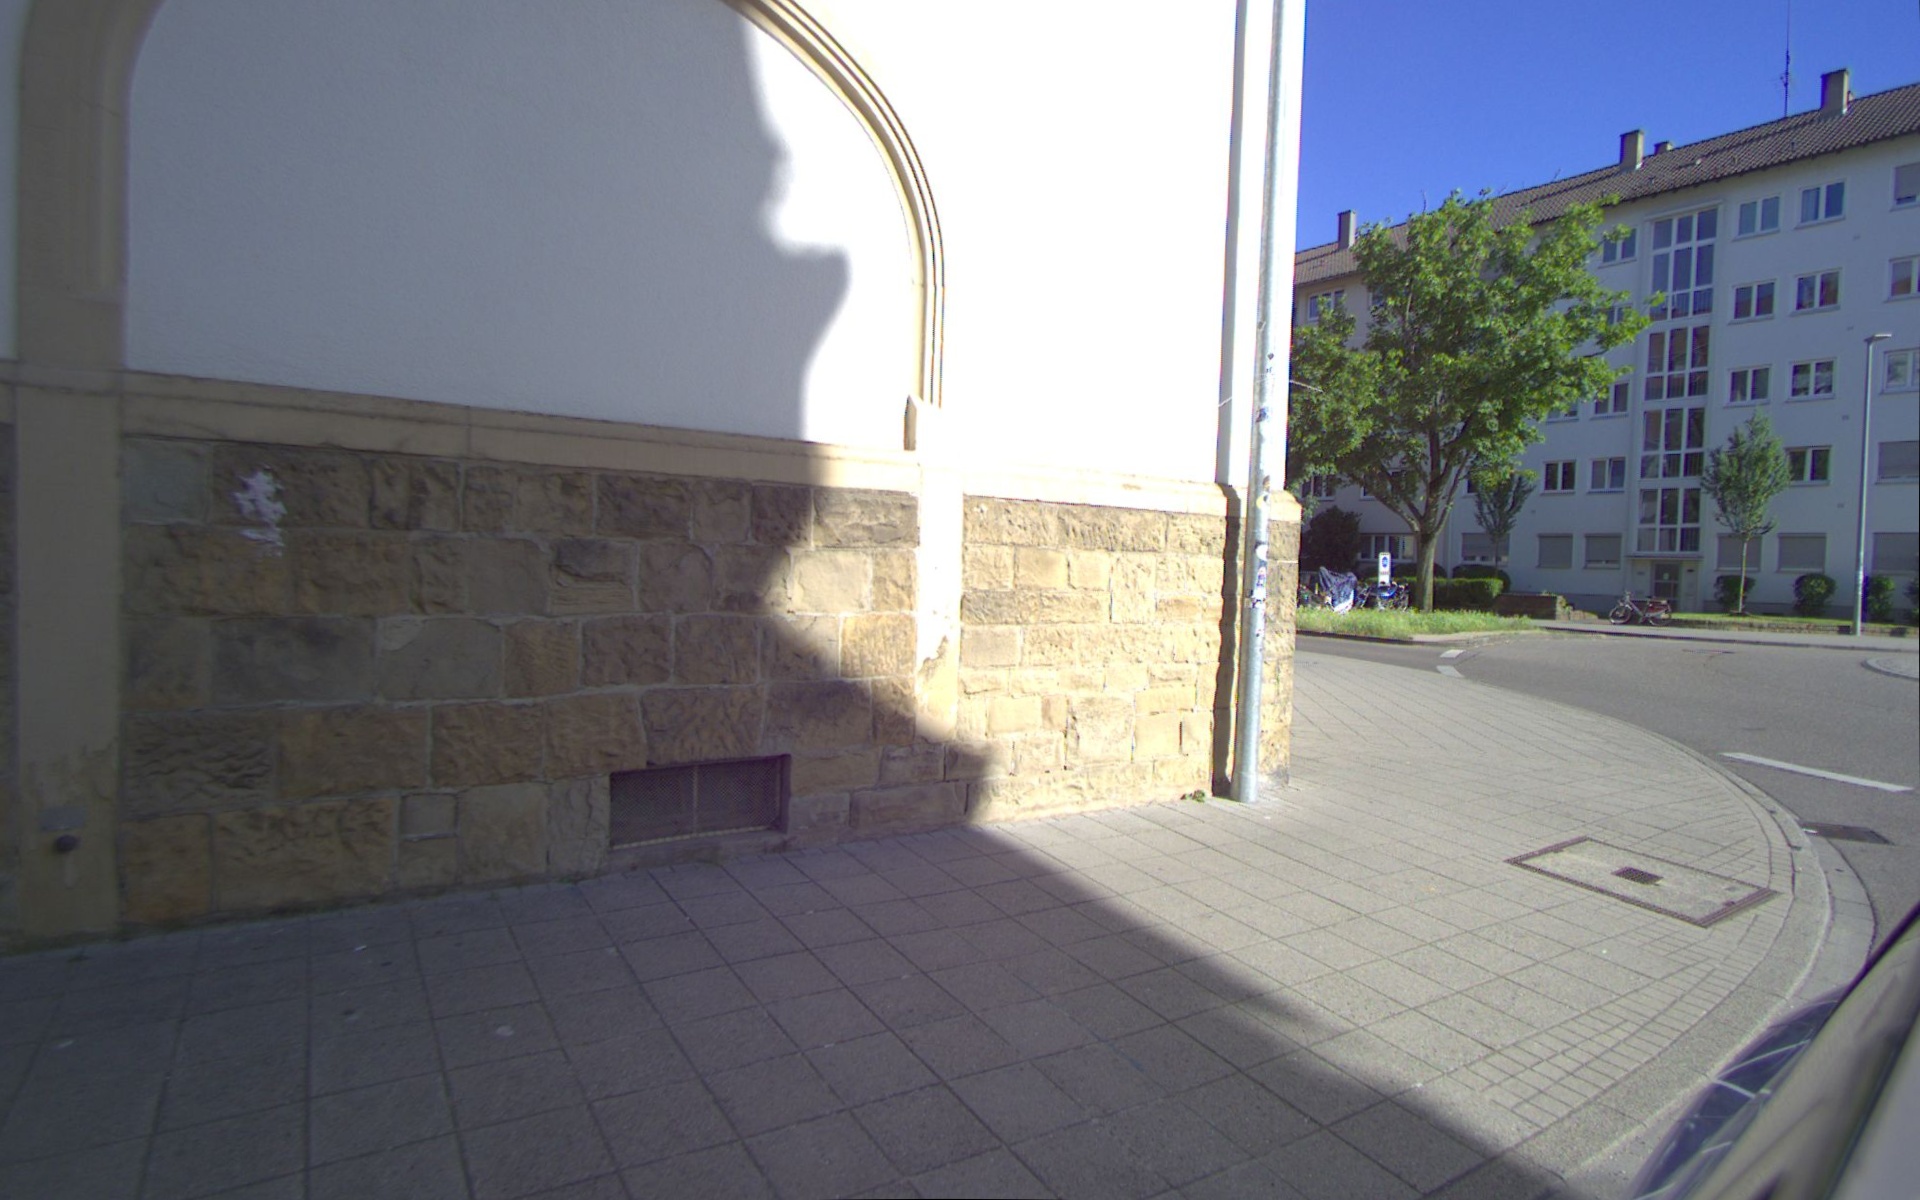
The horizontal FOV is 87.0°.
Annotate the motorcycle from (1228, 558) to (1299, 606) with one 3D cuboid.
[{"bbox_3d":[9.452,-0.561,31.493,2.088,1.409,1.063,0,3,-37],"label":"motorcycle"}]

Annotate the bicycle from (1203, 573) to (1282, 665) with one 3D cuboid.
[{"bbox_3d":[3.936,0.209,14.277,0.754,1.172,2.281,1,2,8],"label":"bicycle"}]

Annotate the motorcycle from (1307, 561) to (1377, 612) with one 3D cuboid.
[{"bbox_3d":[10.546,-0.373,27.938,2.017,1.344,0.862,0,3,-39],"label":"motorcycle"}]

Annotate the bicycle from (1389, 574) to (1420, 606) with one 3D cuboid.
[{"bbox_3d":[15.705,-0.355,35.765,1.424,1.069,0.330,-3,4,-37],"label":"bicycle"}]

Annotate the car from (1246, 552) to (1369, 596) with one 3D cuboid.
[{"bbox_3d":[12.868,-0.992,37.714,1.797,1.429,4.002,1,3,-35],"label":"car"}]

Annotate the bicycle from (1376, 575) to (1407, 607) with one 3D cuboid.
[{"bbox_3d":[15.429,-0.343,36.151,1.424,1.069,0.330,-3,4,-37],"label":"bicycle"}]

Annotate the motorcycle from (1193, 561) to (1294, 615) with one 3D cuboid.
[{"bbox_3d":[7.228,-0.312,25.705,2.735,1.283,1.126,0,3,-41],"label":"motorcycle"}]

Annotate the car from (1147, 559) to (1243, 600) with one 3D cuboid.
[{"bbox_3d":[9.935,-0.902,43.043,1.748,1.503,4.008,2,2,-27],"label":"car"}]

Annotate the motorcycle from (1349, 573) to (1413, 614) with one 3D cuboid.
[{"bbox_3d":[12.153,-0.176,29.177,1.810,1.086,0.814,2,2,-36],"label":"motorcycle"}]

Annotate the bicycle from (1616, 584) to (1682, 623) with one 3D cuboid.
[{"bbox_3d":[21.315,0.085,31.335,0.378,1.091,1.623,-3,5,-40],"label":"bicycle"}]
